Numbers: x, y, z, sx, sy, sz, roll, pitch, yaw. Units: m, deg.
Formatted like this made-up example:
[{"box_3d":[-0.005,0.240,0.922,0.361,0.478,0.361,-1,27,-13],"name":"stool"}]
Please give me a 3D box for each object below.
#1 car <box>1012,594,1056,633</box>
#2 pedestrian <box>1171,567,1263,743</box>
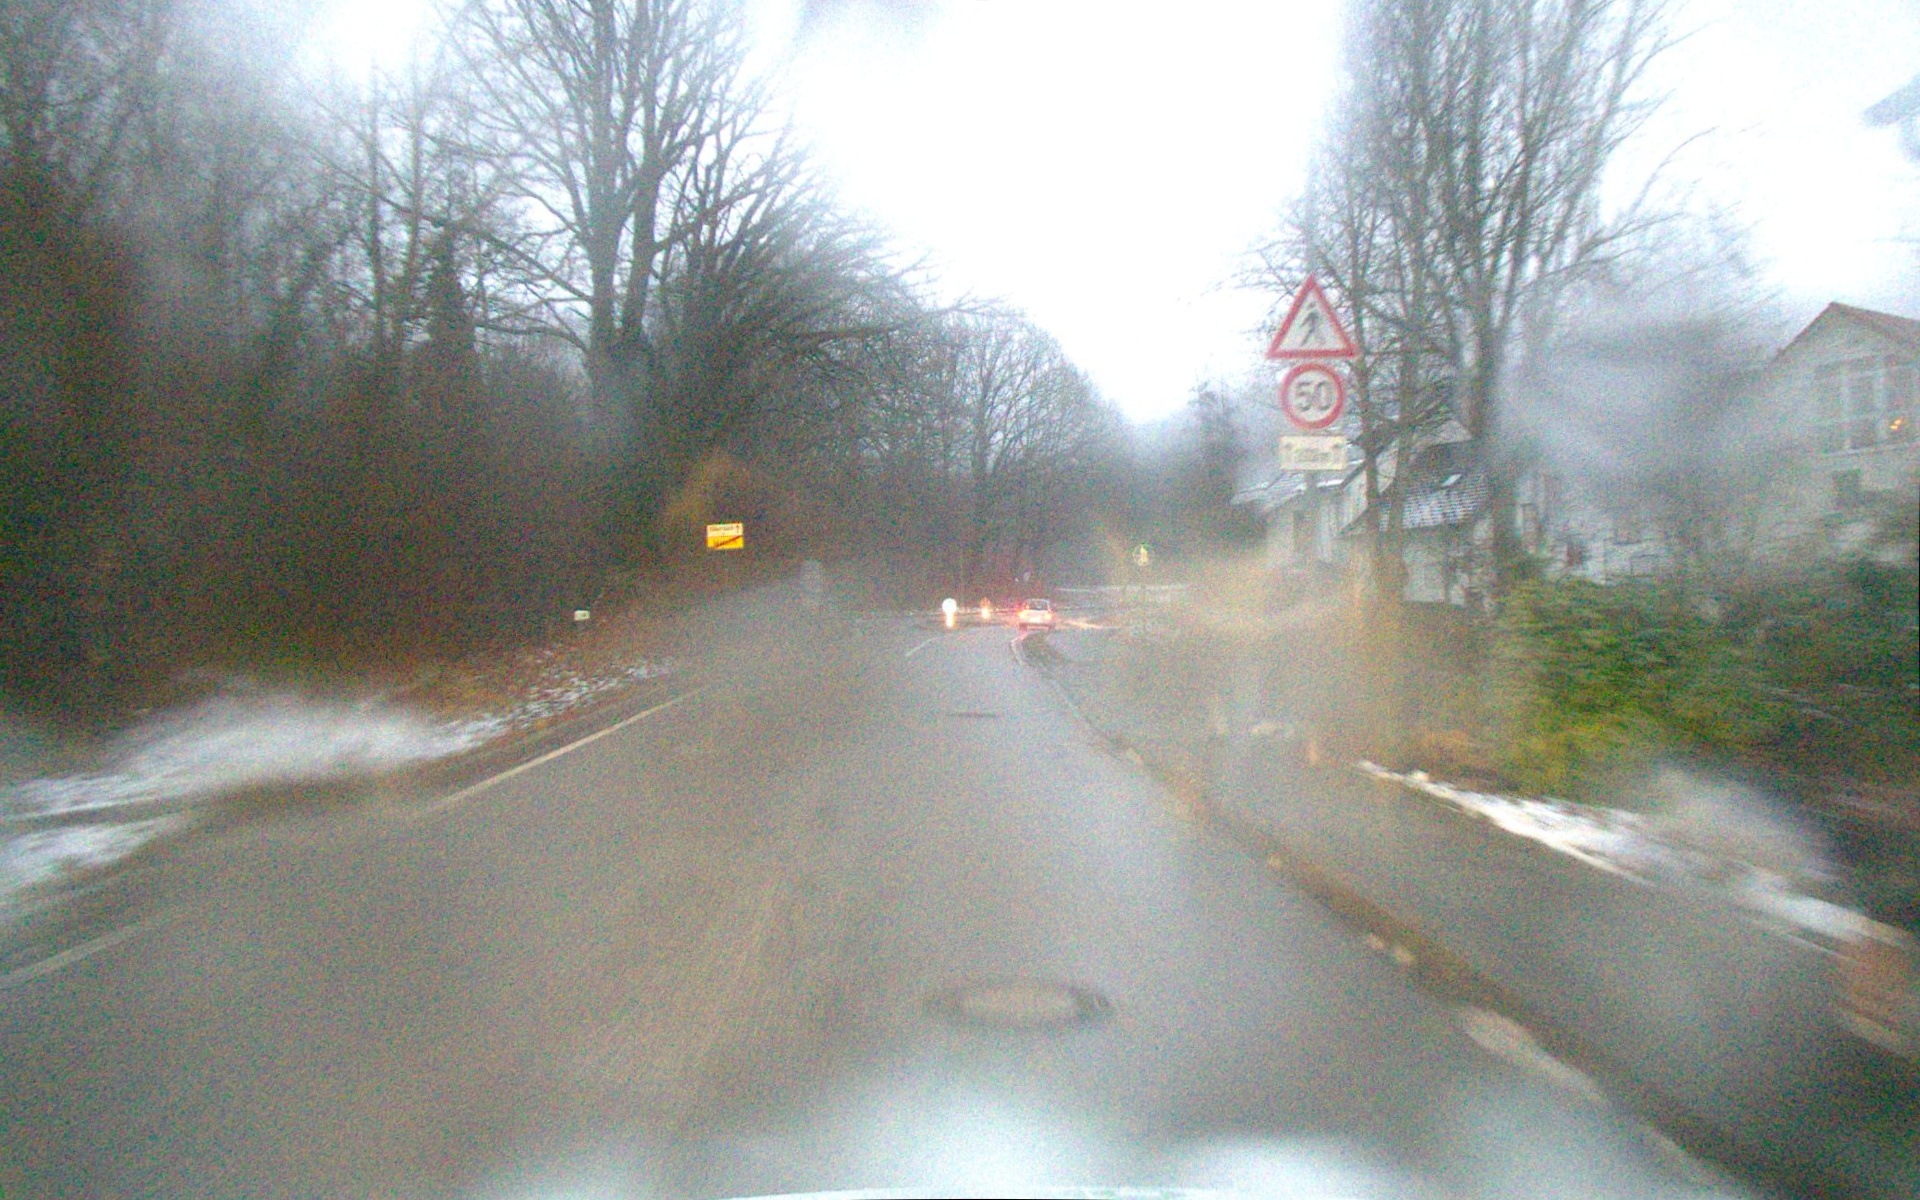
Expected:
[{"box_3d":[3.568,0.615,79.327,1.892,1.812,4.003,-1,0,5],"name":"car"},{"box_3d":[2.532,0.524,16.377,0.728,1.684,0.970,-1,0,-2],"name":"pedestrian"}]
